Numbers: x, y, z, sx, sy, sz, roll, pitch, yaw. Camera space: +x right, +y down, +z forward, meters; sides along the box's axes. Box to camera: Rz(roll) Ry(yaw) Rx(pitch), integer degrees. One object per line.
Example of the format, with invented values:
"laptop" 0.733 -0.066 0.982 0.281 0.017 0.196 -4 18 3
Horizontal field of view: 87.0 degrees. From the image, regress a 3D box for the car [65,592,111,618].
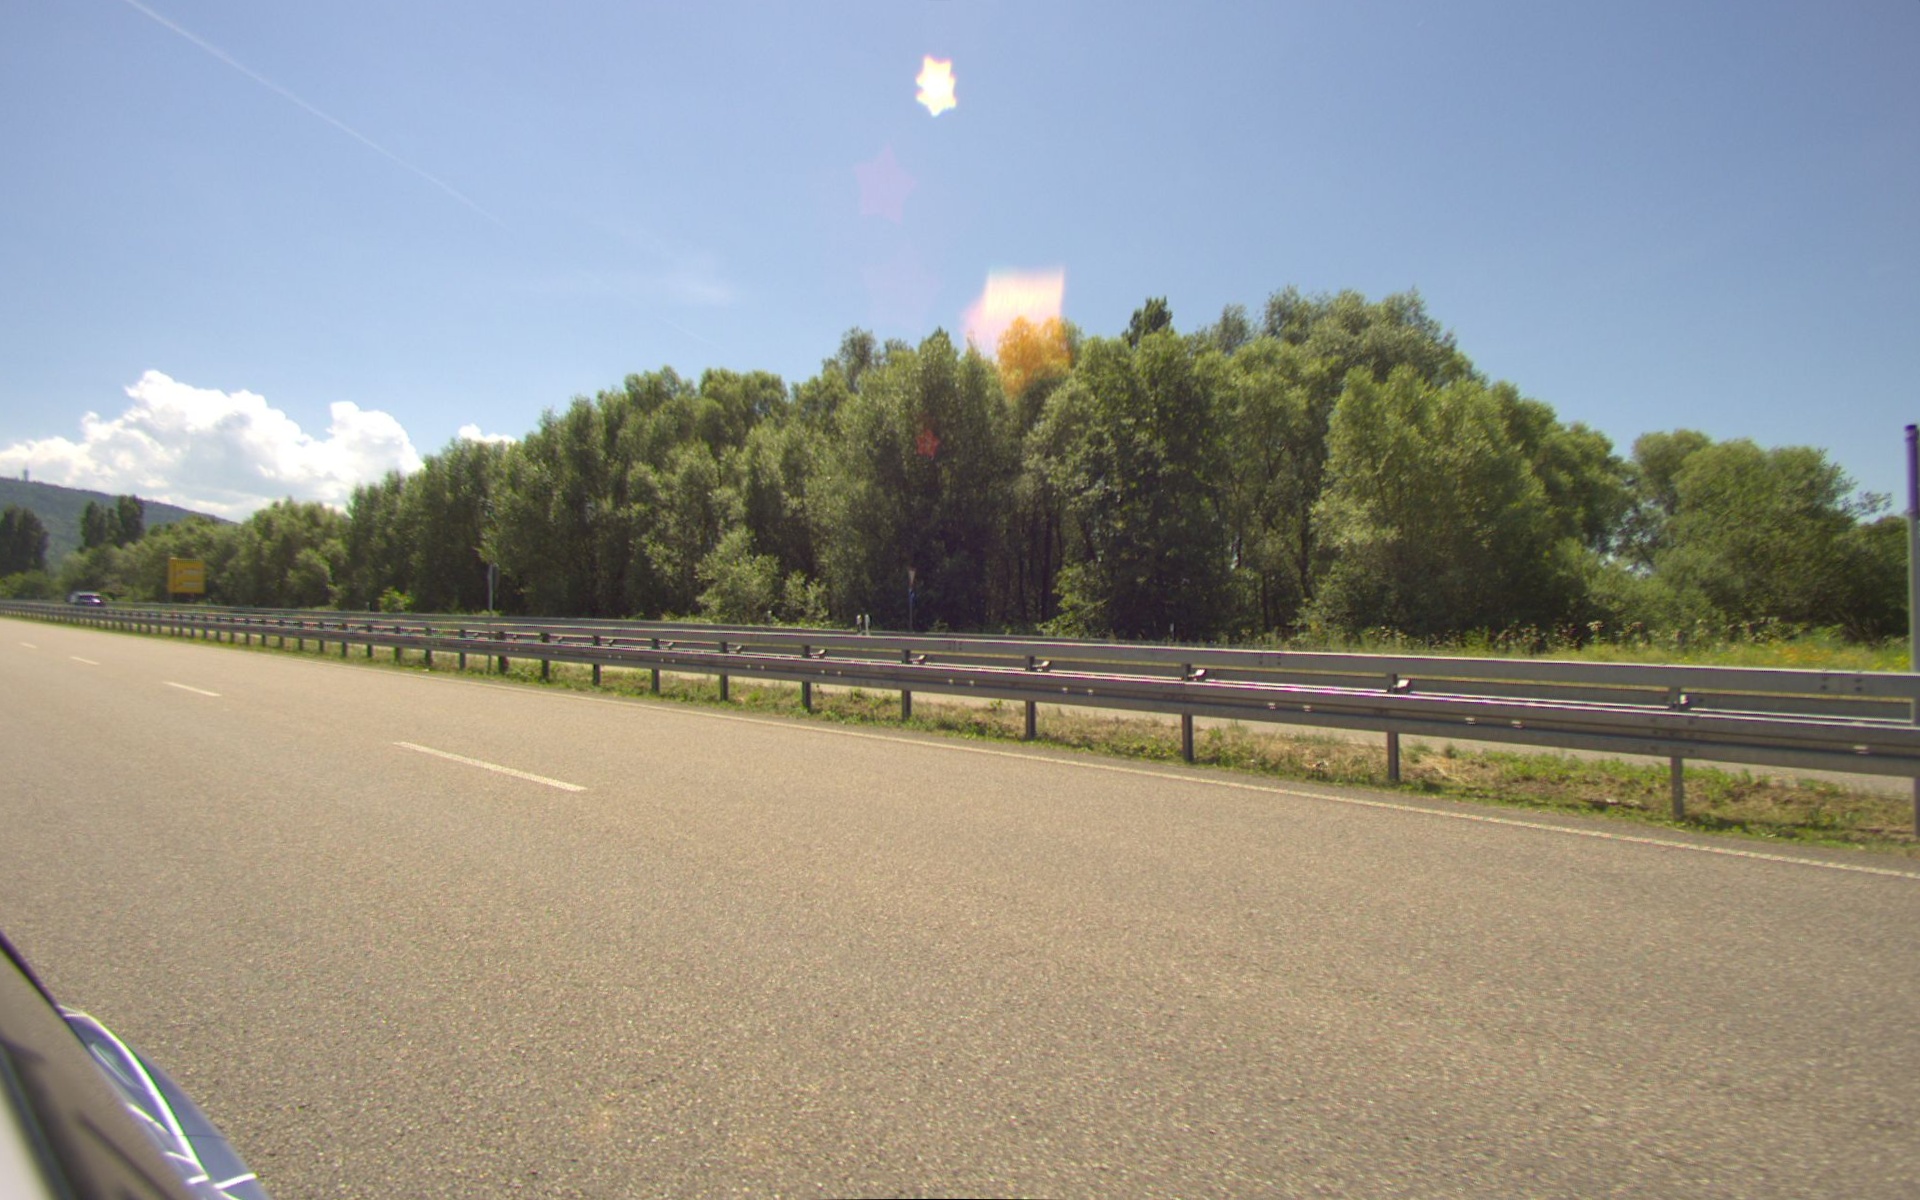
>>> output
"car" -61.705 0.337 71.578 4.658 1.844 1.843 0 0 42
